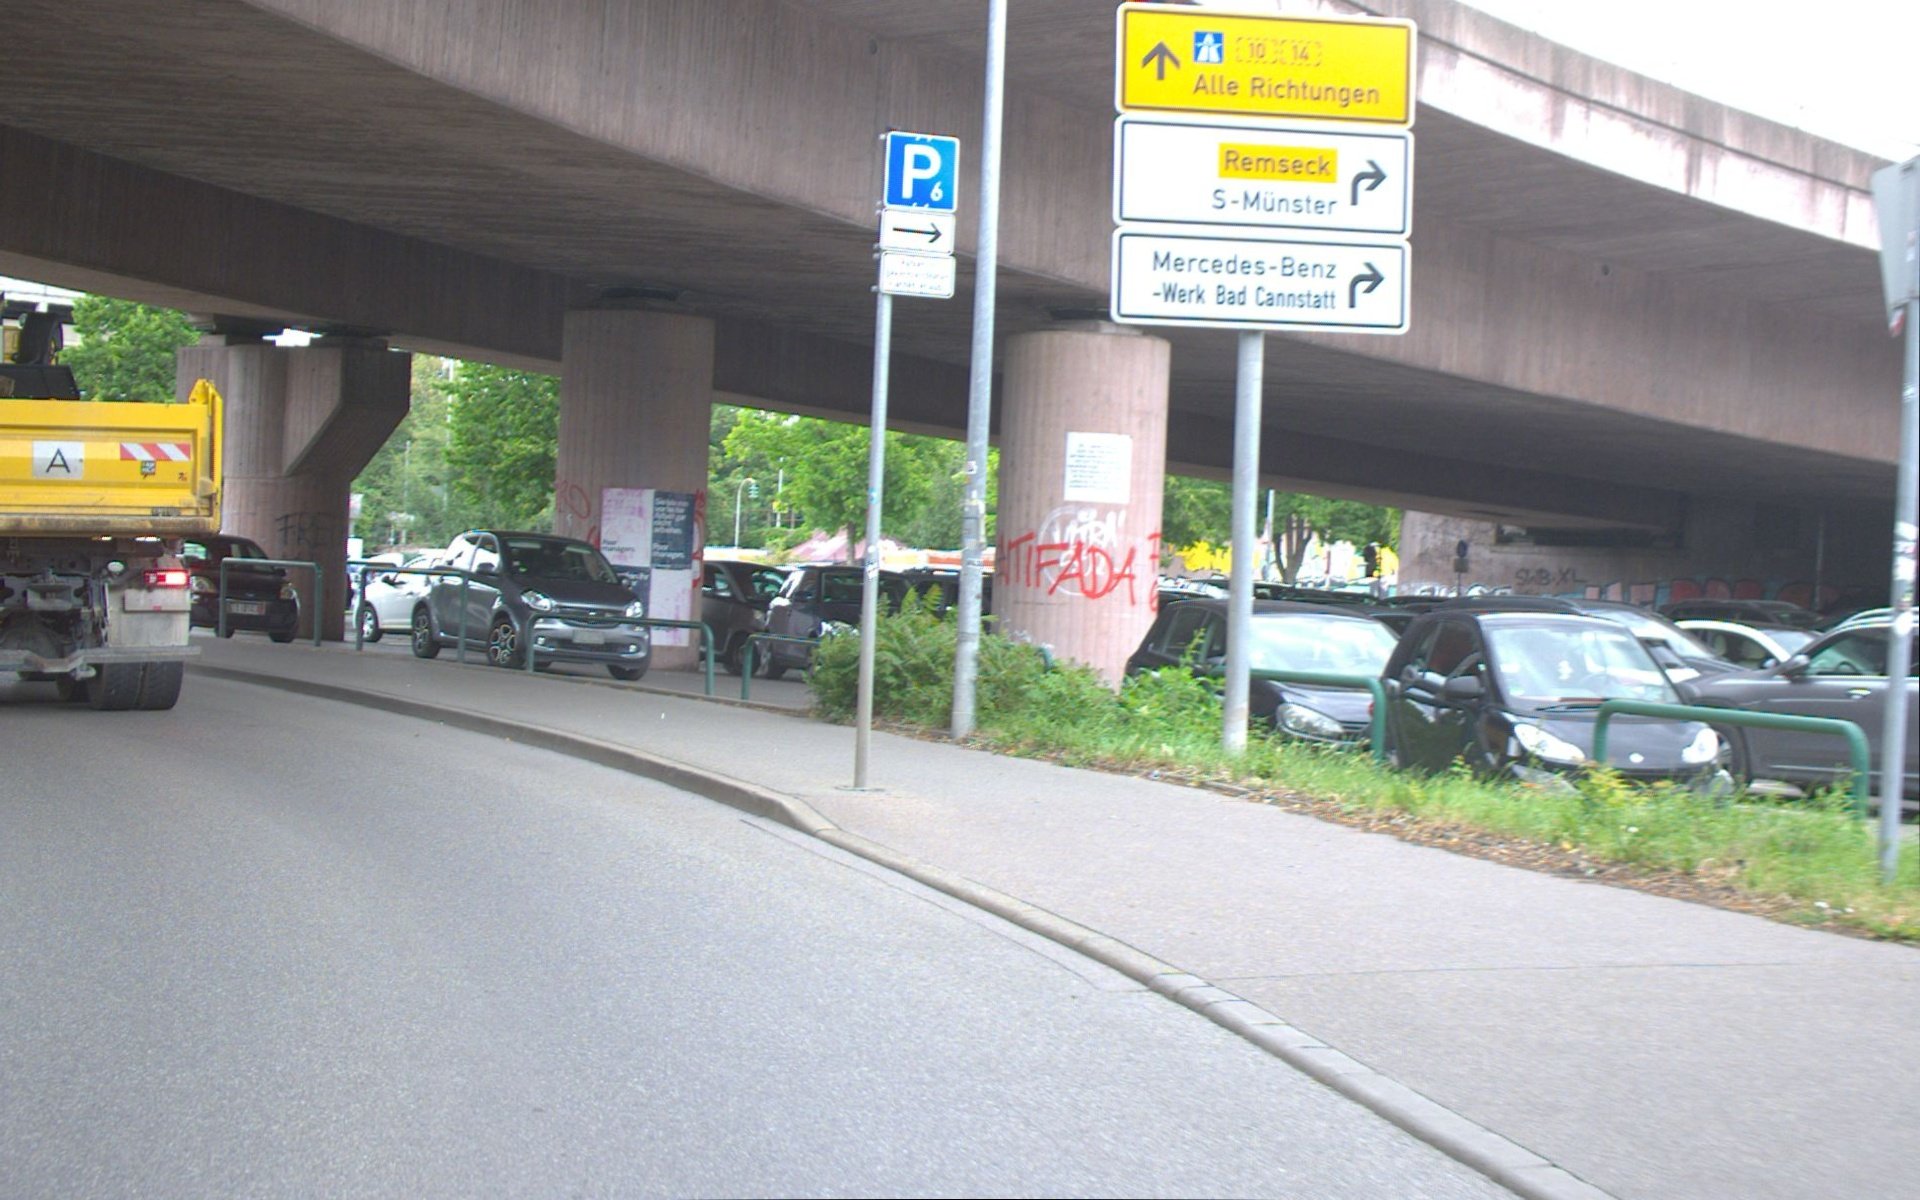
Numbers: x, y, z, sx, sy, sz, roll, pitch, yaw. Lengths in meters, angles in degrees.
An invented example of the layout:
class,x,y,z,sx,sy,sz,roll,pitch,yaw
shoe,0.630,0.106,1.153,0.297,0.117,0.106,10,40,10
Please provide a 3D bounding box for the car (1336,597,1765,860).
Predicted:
class,x,y,z,sx,sy,sz,roll,pitch,yaw
car,3.635,0.763,21.555,1.539,1.474,2.762,2,0,-16

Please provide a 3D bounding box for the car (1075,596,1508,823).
class,x,y,z,sx,sy,sz,roll,pitch,yaw
car,2.380,0.765,25.874,1.729,1.474,4.251,2,0,-16

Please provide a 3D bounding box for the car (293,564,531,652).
class,x,y,z,sx,sy,sz,roll,pitch,yaw
car,-10.368,0.163,65.233,4.236,1.415,1.510,3,1,-42

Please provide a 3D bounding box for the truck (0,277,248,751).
class,x,y,z,sx,sy,sz,roll,pitch,yaw
truck,-8.699,-0.698,30.512,2.757,3.686,7.881,0,0,-26

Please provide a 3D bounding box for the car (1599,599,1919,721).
class,x,y,z,sx,sy,sz,roll,pitch,yaw
car,12.692,0.919,53.730,2.085,1.671,5.105,2,0,-40

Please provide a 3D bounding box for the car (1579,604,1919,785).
class,x,y,z,sx,sy,sz,roll,pitch,yaw
car,8.491,0.923,34.597,1.833,1.587,4.191,2,0,-40

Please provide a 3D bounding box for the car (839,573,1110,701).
class,x,y,z,sx,sy,sz,roll,pitch,yaw
car,0.179,0.524,50.210,1.833,1.692,3.861,2,0,-40

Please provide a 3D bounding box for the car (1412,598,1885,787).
class,x,y,z,sx,sy,sz,roll,pitch,yaw
car,6.567,0.856,33.131,1.833,1.587,4.191,2,0,-40

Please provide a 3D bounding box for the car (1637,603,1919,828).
class,x,y,z,sx,sy,sz,roll,pitch,yaw
car,7.810,0.947,27.660,1.740,1.669,4.468,2,0,-40

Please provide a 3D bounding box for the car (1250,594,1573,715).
class,x,y,z,sx,sy,sz,roll,pitch,yaw
car,6.121,0.727,46.963,1.833,1.461,4.191,2,0,-40

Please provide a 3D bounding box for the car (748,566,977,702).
class,x,y,z,sx,sy,sz,roll,pitch,yaw
car,-1.255,0.423,42.428,1.784,1.501,3.860,3,-2,-17

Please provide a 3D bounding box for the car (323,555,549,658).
class,x,y,z,sx,sy,sz,roll,pitch,yaw
car,-8.653,0.092,56.591,1.634,1.547,4.009,2,0,-43

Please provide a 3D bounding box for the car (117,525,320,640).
class,x,y,z,sx,sy,sz,roll,pitch,yaw
car,-10.112,-0.260,46.733,1.606,1.392,3.580,4,-1,-30

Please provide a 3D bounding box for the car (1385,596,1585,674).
class,x,y,z,sx,sy,sz,roll,pitch,yaw
car,11.155,0.738,73.192,3.859,1.473,1.753,2,0,43

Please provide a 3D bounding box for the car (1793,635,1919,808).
class,x,y,z,sx,sy,sz,roll,pitch,yaw
car,9.539,1.122,29.449,1.751,1.444,4.457,2,0,-40

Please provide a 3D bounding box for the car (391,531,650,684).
class,x,y,z,sx,sy,sz,roll,pitch,yaw
car,-4.969,0.060,38.525,1.606,1.528,3.410,4,-1,-30

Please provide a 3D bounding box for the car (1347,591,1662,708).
class,x,y,z,sx,sy,sz,roll,pitch,yaw
car,7.697,0.690,48.879,1.833,1.461,4.191,2,0,-40

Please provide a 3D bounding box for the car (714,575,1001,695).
class,x,y,z,sx,sy,sz,roll,pitch,yaw
car,-1.500,0.467,48.529,1.832,1.465,4.379,4,-1,-36

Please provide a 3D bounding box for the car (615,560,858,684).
class,x,y,z,sx,sy,sz,roll,pitch,yaw
car,-3.085,0.286,47.068,1.526,1.495,3.374,5,-2,-40

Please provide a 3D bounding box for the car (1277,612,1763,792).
class,x,y,z,sx,sy,sz,roll,pitch,yaw
car,5.080,0.904,31.642,1.833,1.416,4.191,2,0,-40
